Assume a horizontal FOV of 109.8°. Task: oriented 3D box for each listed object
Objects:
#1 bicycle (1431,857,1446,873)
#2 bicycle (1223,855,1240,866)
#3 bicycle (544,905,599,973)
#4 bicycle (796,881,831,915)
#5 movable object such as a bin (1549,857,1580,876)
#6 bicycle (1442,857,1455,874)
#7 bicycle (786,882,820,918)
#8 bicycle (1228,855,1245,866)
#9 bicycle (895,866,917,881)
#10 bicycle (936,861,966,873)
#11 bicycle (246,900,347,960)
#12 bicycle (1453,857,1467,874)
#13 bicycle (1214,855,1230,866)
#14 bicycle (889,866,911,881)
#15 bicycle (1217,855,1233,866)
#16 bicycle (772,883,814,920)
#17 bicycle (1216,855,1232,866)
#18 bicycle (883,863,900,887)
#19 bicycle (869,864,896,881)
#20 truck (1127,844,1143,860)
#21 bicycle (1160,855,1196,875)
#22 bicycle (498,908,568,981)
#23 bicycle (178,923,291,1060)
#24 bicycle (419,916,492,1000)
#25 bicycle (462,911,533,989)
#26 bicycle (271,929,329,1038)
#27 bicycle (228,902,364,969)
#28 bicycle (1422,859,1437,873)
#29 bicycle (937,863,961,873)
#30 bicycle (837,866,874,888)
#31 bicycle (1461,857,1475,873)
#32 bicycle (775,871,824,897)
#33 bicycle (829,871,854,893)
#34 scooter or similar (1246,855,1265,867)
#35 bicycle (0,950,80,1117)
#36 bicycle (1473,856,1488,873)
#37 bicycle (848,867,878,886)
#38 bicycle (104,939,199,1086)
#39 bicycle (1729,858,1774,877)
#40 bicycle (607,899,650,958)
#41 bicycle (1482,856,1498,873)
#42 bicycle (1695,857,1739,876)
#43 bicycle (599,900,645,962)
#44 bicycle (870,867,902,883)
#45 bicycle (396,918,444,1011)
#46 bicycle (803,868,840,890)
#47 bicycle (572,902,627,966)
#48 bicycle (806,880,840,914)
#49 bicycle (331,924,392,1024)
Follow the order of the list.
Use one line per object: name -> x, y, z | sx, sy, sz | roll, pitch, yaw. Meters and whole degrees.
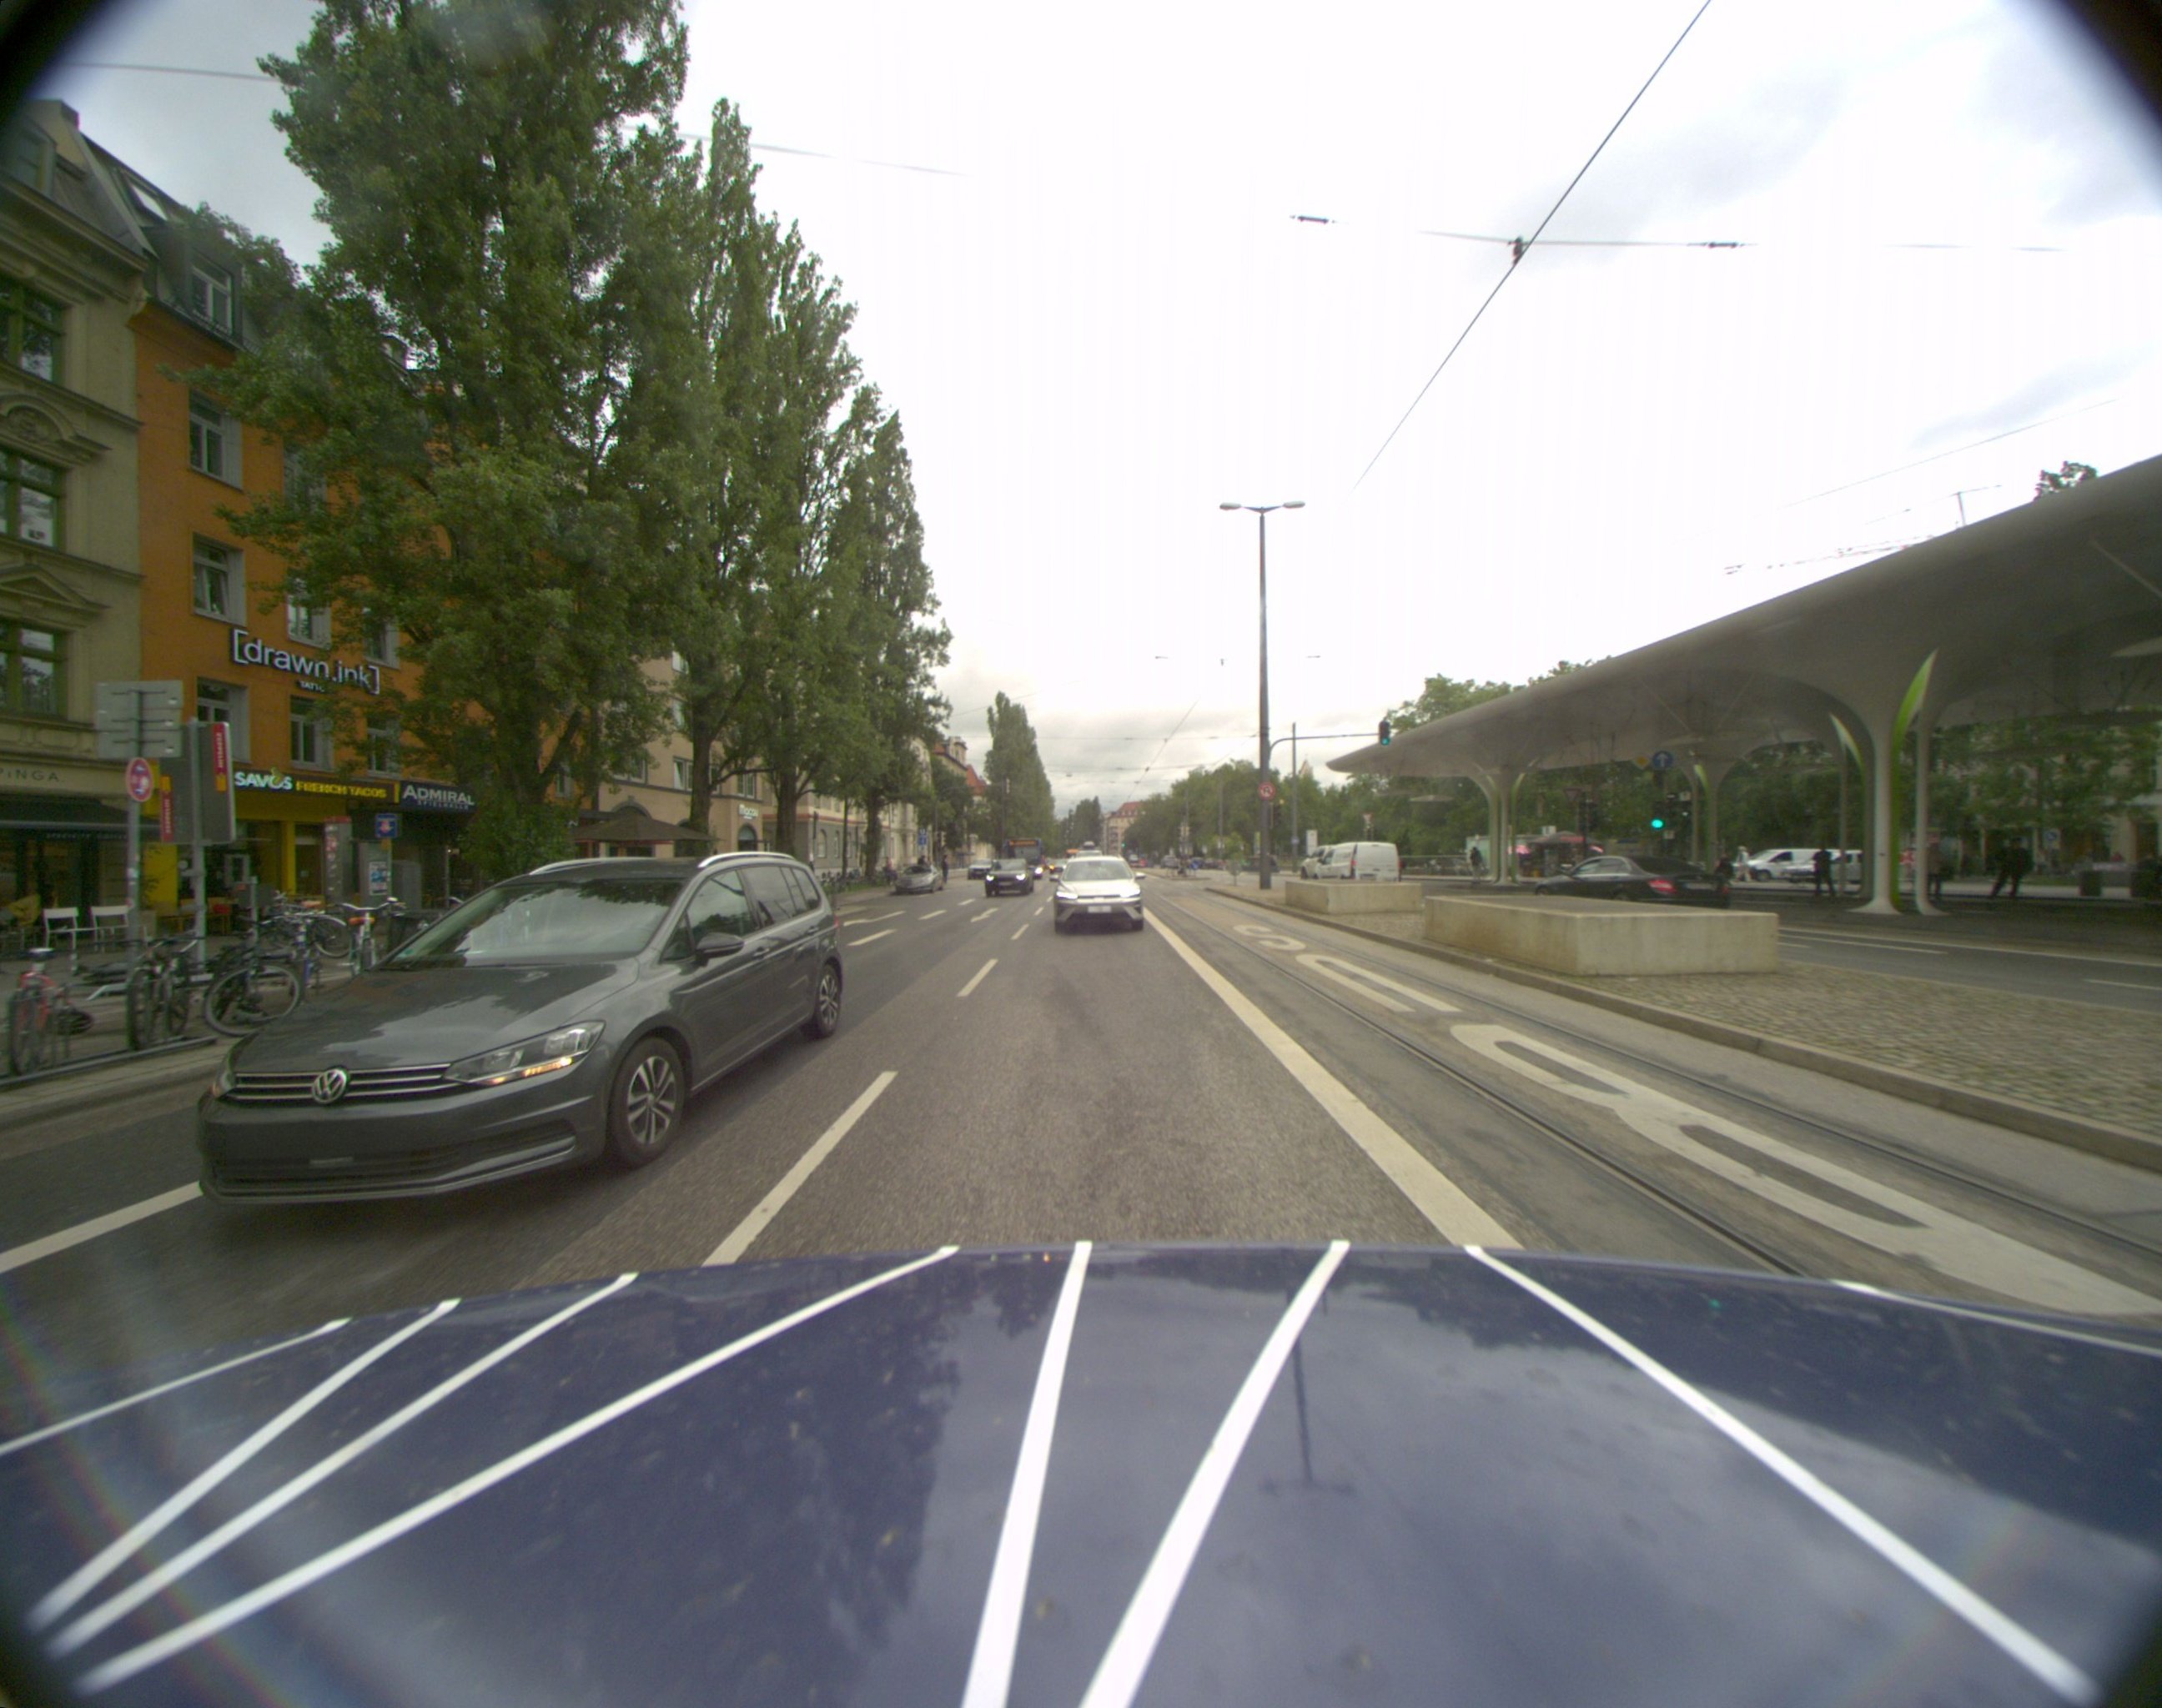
bicycle -> 24.337, 0.732, 51.758 | 0.479, 1.090, 1.851 | 0, 0, 12
bicycle -> 16.560, 0.742, 83.748 | 1.693, 1.165, 0.561 | -1, 0, -9
bicycle -> -8.214, 1.331, 12.229 | 1.837, 0.990, 0.326 | -2, -1, 43
bicycle -> -8.014, 1.304, 22.720 | 0.376, 0.990, 1.837 | -1, -1, -38
movable object such as a bin -> 29.471, 0.753, 46.324 | 1.336, 1.078, 0.957 | -1, 0, 0
bicycle -> 24.969, 0.789, 51.636 | 0.479, 1.090, 1.851 | 0, 0, 14
bicycle -> -8.048, 1.307, 21.956 | 0.376, 0.990, 1.837 | -1, -1, -38
bicycle -> 16.902, 0.727, 82.579 | 1.693, 1.165, 0.561 | -1, 0, -9
bicycle -> -12.778, 1.398, 55.558 | 0.391, 1.017, 1.842 | -1, 1, 28
bicycle -> -13.270, 1.337, 77.820 | 2.922, 1.141, 0.639 | -2, 1, -17
bicycle -> -14.033, 1.358, 13.587 | 1.725, 1.039, 0.388 | -2, -1, 12
bicycle -> 25.662, 0.756, 51.520 | 0.479, 1.090, 1.851 | 0, 0, 14
bicycle -> 16.096, 0.759, 86.789 | 1.693, 1.165, 0.505 | -1, 0, -6
bicycle -> -13.227, 1.426, 55.609 | 0.391, 0.972, 1.842 | -1, 1, 28
bicycle -> 16.193, 0.756, 85.506 | 1.693, 1.165, 0.561 | -1, 0, -9
bicycle -> -8.084, 1.310, 21.262 | 0.376, 0.990, 1.837 | -1, -1, -44
bicycle -> 16.167, 0.757, 86.091 | 1.693, 1.165, 0.505 | -1, 0, -7
bicycle -> -10.541, 1.148, 42.386 | 0.424, 1.281, 1.778 | -1, 0, 2
bicycle -> -14.639, 1.363, 56.119 | 1.890, 1.147, 0.464 | -2, 1, -41
truck -> 10.544, -0.431, 148.078 | 2.572, 3.069, 7.691 | 1, 0, 1
bicycle -> 6.076, 0.687, 47.652 | 2.233, 1.144, 0.505 | -2, 1, -19
bicycle -> -8.288, 1.334, 11.462 | 1.837, 0.990, 0.326 | -2, -1, 38
bicycle -> -8.323, 1.286, 7.448 | 1.837, 1.106, 0.468 | 0, 0, 33
bicycle -> -8.328, 1.338, 10.091 | 1.837, 0.990, 0.326 | -2, -1, 38
bicycle -> -8.360, 1.339, 10.860 | 1.837, 0.990, 0.326 | -2, -1, 38
bicycle -> -8.456, 1.343, 8.204 | 1.837, 0.990, 0.326 | -2, -1, 41
bicycle -> -13.125, 1.355, 12.726 | 1.727, 1.039, 0.387 | -1, -1, -5
bicycle -> 23.797, 0.831, 51.876 | 0.479, 0.889, 1.850 | -1, 0, 9
bicycle -> -13.886, 1.476, 79.871 | 2.323, 0.916, 0.640 | -2, 1, -2
bicycle -> -12.052, 1.233, 40.594 | 1.801, 1.103, 0.447 | -3, 0, 3
bicycle -> 26.179, 0.731, 51.423 | 0.479, 1.090, 1.851 | 0, 0, 14
bicycle -> -12.015, 1.274, 32.499 | 1.892, 1.048, 0.458 | -1, 1, -2
bicycle -> -11.132, 1.274, 35.418 | 0.590, 0.959, 1.653 | -1, 0, 1
scooter or similar -> 17.364, 0.718, 75.588 | 1.692, 1.165, 0.562 | -1, 0, -2
bicycle -> -8.261, 1.349, 5.971 | 1.836, 0.990, 0.349 | 1, 1, 41
bicycle -> 26.899, 0.696, 51.215 | 0.479, 1.090, 1.851 | 0, 0, 14
bicycle -> -12.755, 1.310, 44.452 | 1.575, 1.044, 0.392 | -2, 1, 2
bicycle -> -8.205, 1.334, 6.744 | 0.326, 0.990, 1.837 | -1, 1, -45
bicycle -> 41.936, 0.831, 47.545 | 0.644, 1.123, 2.524 | 0, 0, 1
bicycle -> -8.353, 1.335, 14.009 | 0.326, 0.990, 1.837 | -1, -1, -42
bicycle -> 27.451, 0.670, 51.021 | 0.479, 1.090, 1.851 | 0, 0, 14
bicycle -> 39.927, 0.784, 47.740 | 0.644, 1.123, 2.524 | -1, 0, 1
bicycle -> -8.068, 1.322, 13.322 | 0.326, 0.990, 1.837 | -1, -1, -42
bicycle -> -11.926, 1.297, 46.431 | 1.837, 0.911, 0.392 | -2, 1, 2
bicycle -> -8.258, 1.331, 9.470 | 0.326, 0.990, 1.837 | -1, -1, -44
bicycle -> -13.871, 1.322, 40.612 | 1.801, 1.103, 0.447 | -2, 1, 3
bicycle -> -8.185, 1.329, 12.881 | 1.837, 0.990, 0.326 | -2, -1, 43
bicycle -> -7.956, 1.300, 23.360 | 0.376, 0.990, 1.837 | -1, -1, -38
bicycle -> -8.333, 1.336, 8.778 | 1.837, 0.990, 0.326 | -2, -1, 41
